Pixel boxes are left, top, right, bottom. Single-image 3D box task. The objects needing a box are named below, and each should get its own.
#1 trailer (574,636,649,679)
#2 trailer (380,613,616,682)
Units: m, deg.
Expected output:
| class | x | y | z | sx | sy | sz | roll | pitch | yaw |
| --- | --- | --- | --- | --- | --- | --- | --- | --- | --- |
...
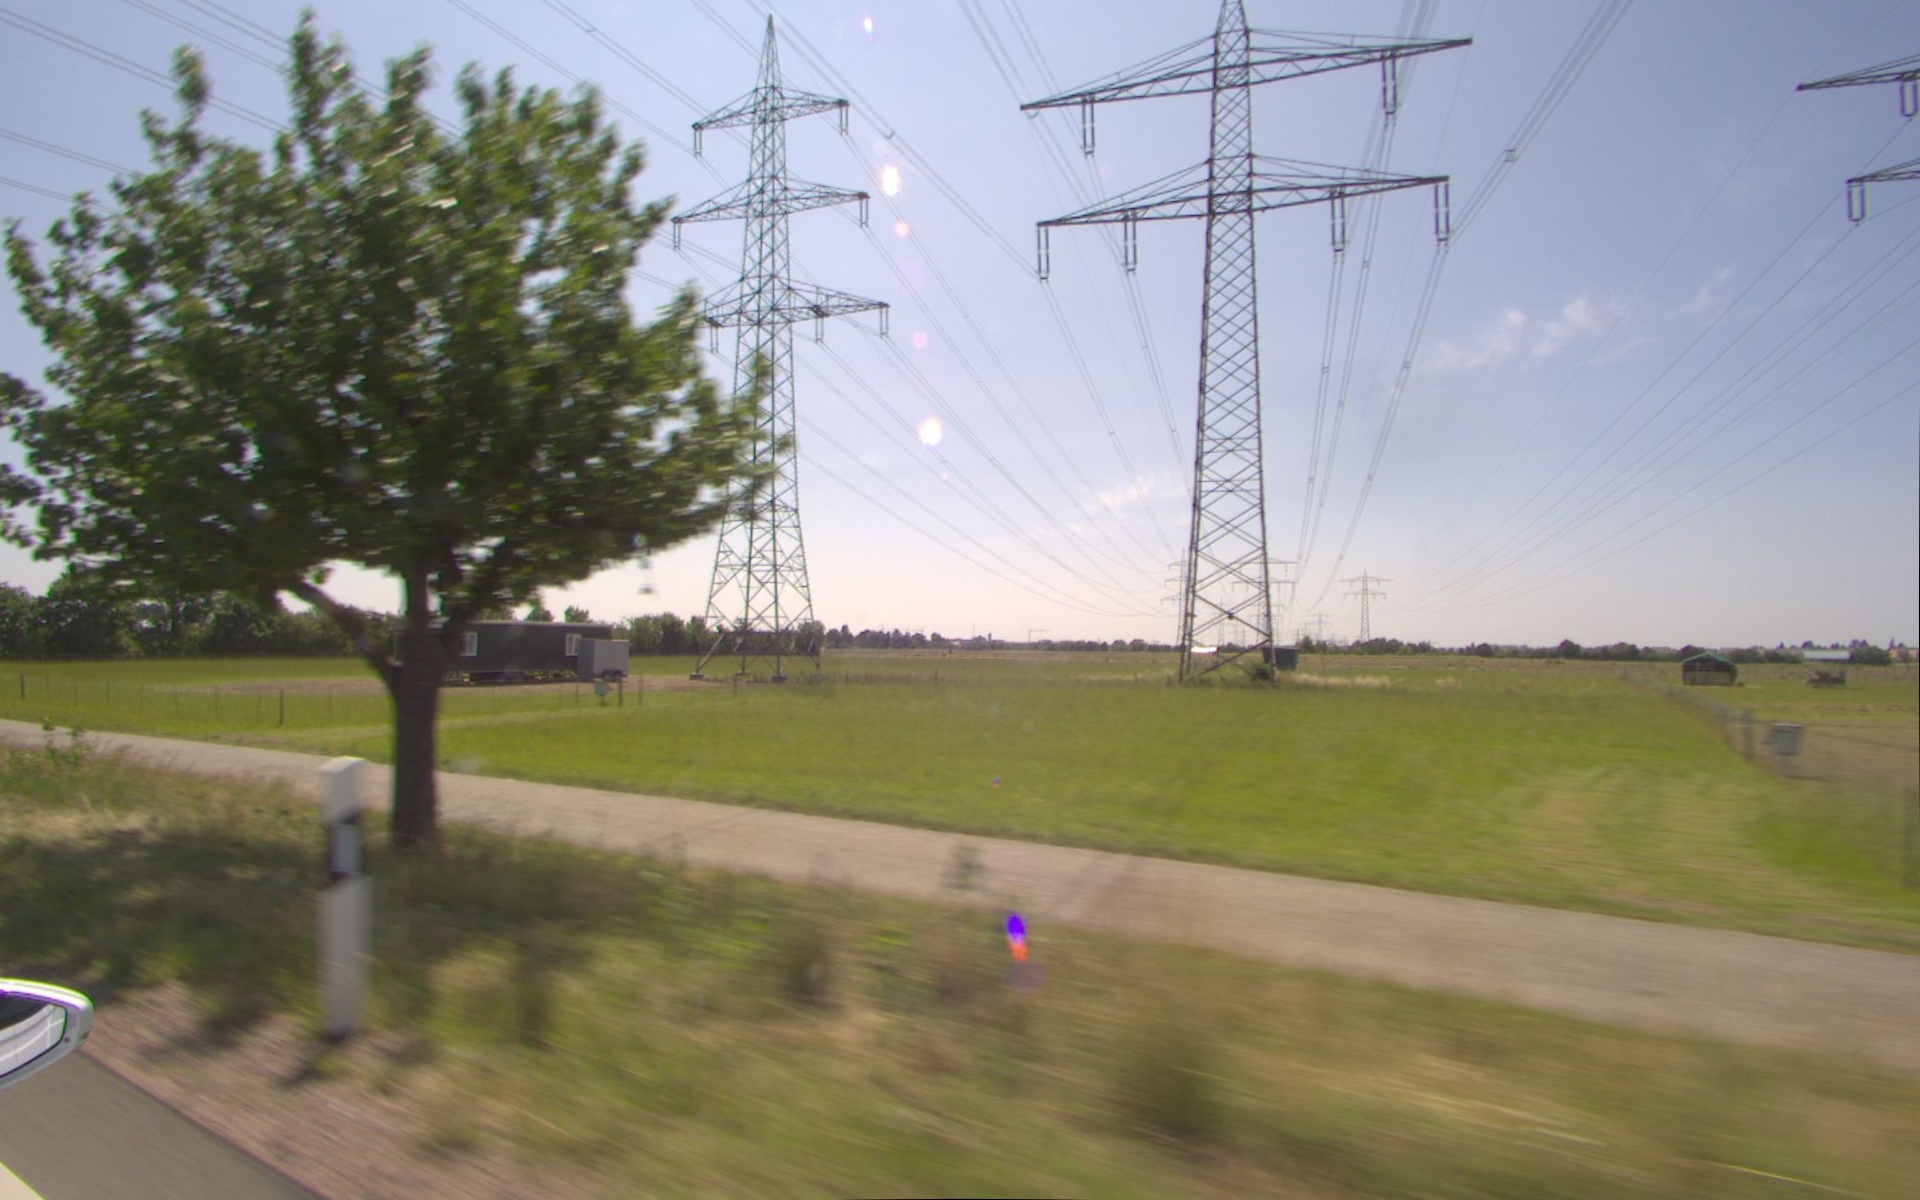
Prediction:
| class | x | y | z | sx | sy | sz | roll | pitch | yaw |
| --- | --- | --- | --- | --- | --- | --- | --- | --- | --- |
| trailer | -21.018 | 3.448 | 60.485 | 1.969 | 2.473 | 3.986 | 0 | -3 | 28 |
| trailer | -26.130 | 2.757 | 57.744 | 3.749 | 3.516 | 12.401 | 0 | -3 | 30 |
